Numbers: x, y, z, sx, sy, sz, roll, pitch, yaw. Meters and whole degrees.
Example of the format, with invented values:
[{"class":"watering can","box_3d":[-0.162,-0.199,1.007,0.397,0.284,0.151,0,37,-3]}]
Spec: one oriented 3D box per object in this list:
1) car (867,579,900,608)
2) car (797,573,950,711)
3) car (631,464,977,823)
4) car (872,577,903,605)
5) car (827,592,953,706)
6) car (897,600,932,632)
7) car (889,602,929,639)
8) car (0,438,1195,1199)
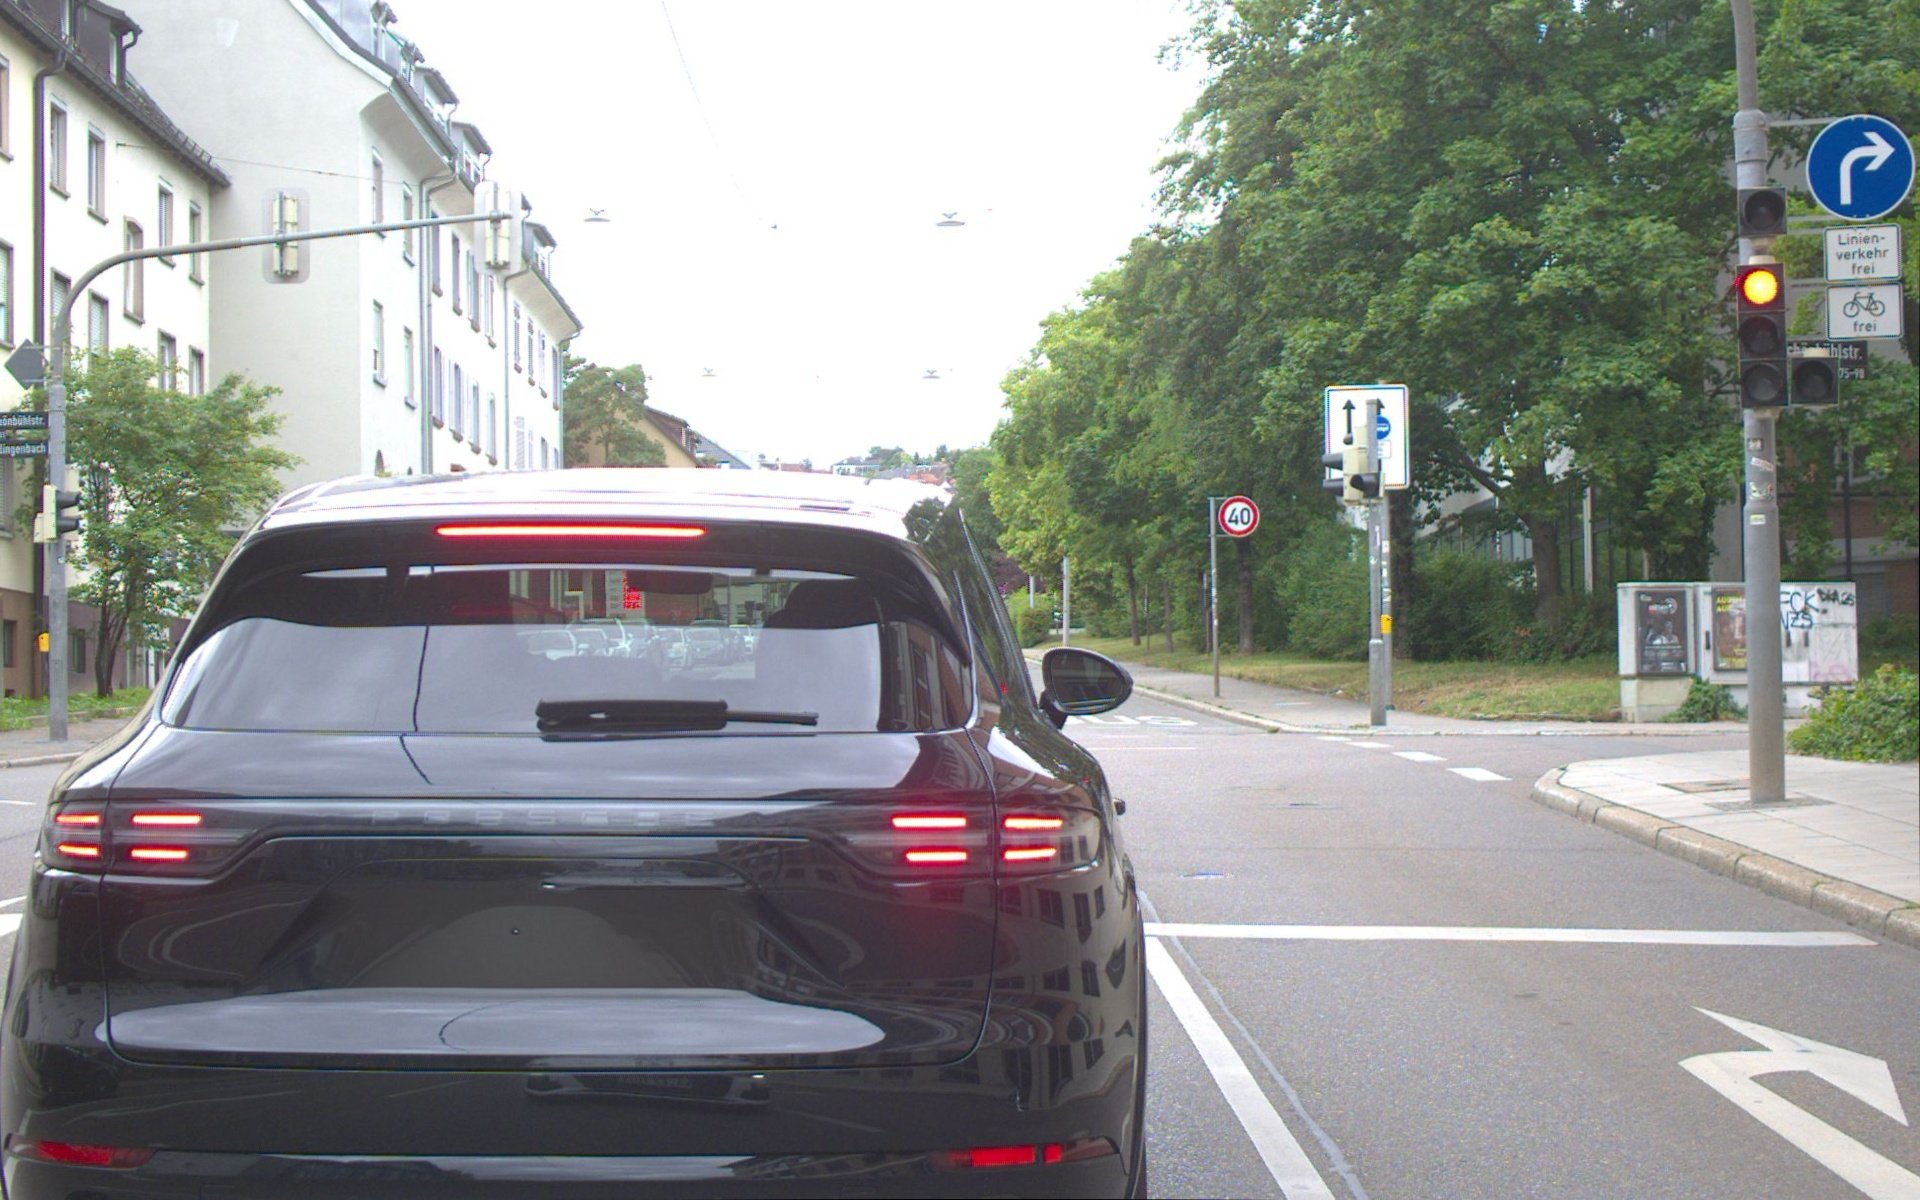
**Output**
[{"class":"car","box_3d":[-4.509,-0.388,202.953,1.827,1.599,4.135,1,1,0]},{"class":"car","box_3d":[-1.064,0.493,43.830,1.827,1.599,4.135,1,1,0]},{"class":"car","box_3d":[-0.911,0.216,21.906,1.965,2.035,4.135,1,1,0]},{"class":"car","box_3d":[-4.412,-0.540,210.278,1.827,1.599,4.135,1,1,0]},{"class":"car","box_3d":[-1.041,0.716,52.548,1.827,1.599,3.859,1,1,0]},{"class":"car","box_3d":[-2.409,0.853,182.493,1.827,1.599,4.135,1,1,0]},{"class":"car","box_3d":[-2.398,0.962,163.317,1.827,1.599,4.135,1,1,0]},{"class":"car","box_3d":[-0.701,0.565,7.258,2.048,1.660,4.267,1,1,0]}]
